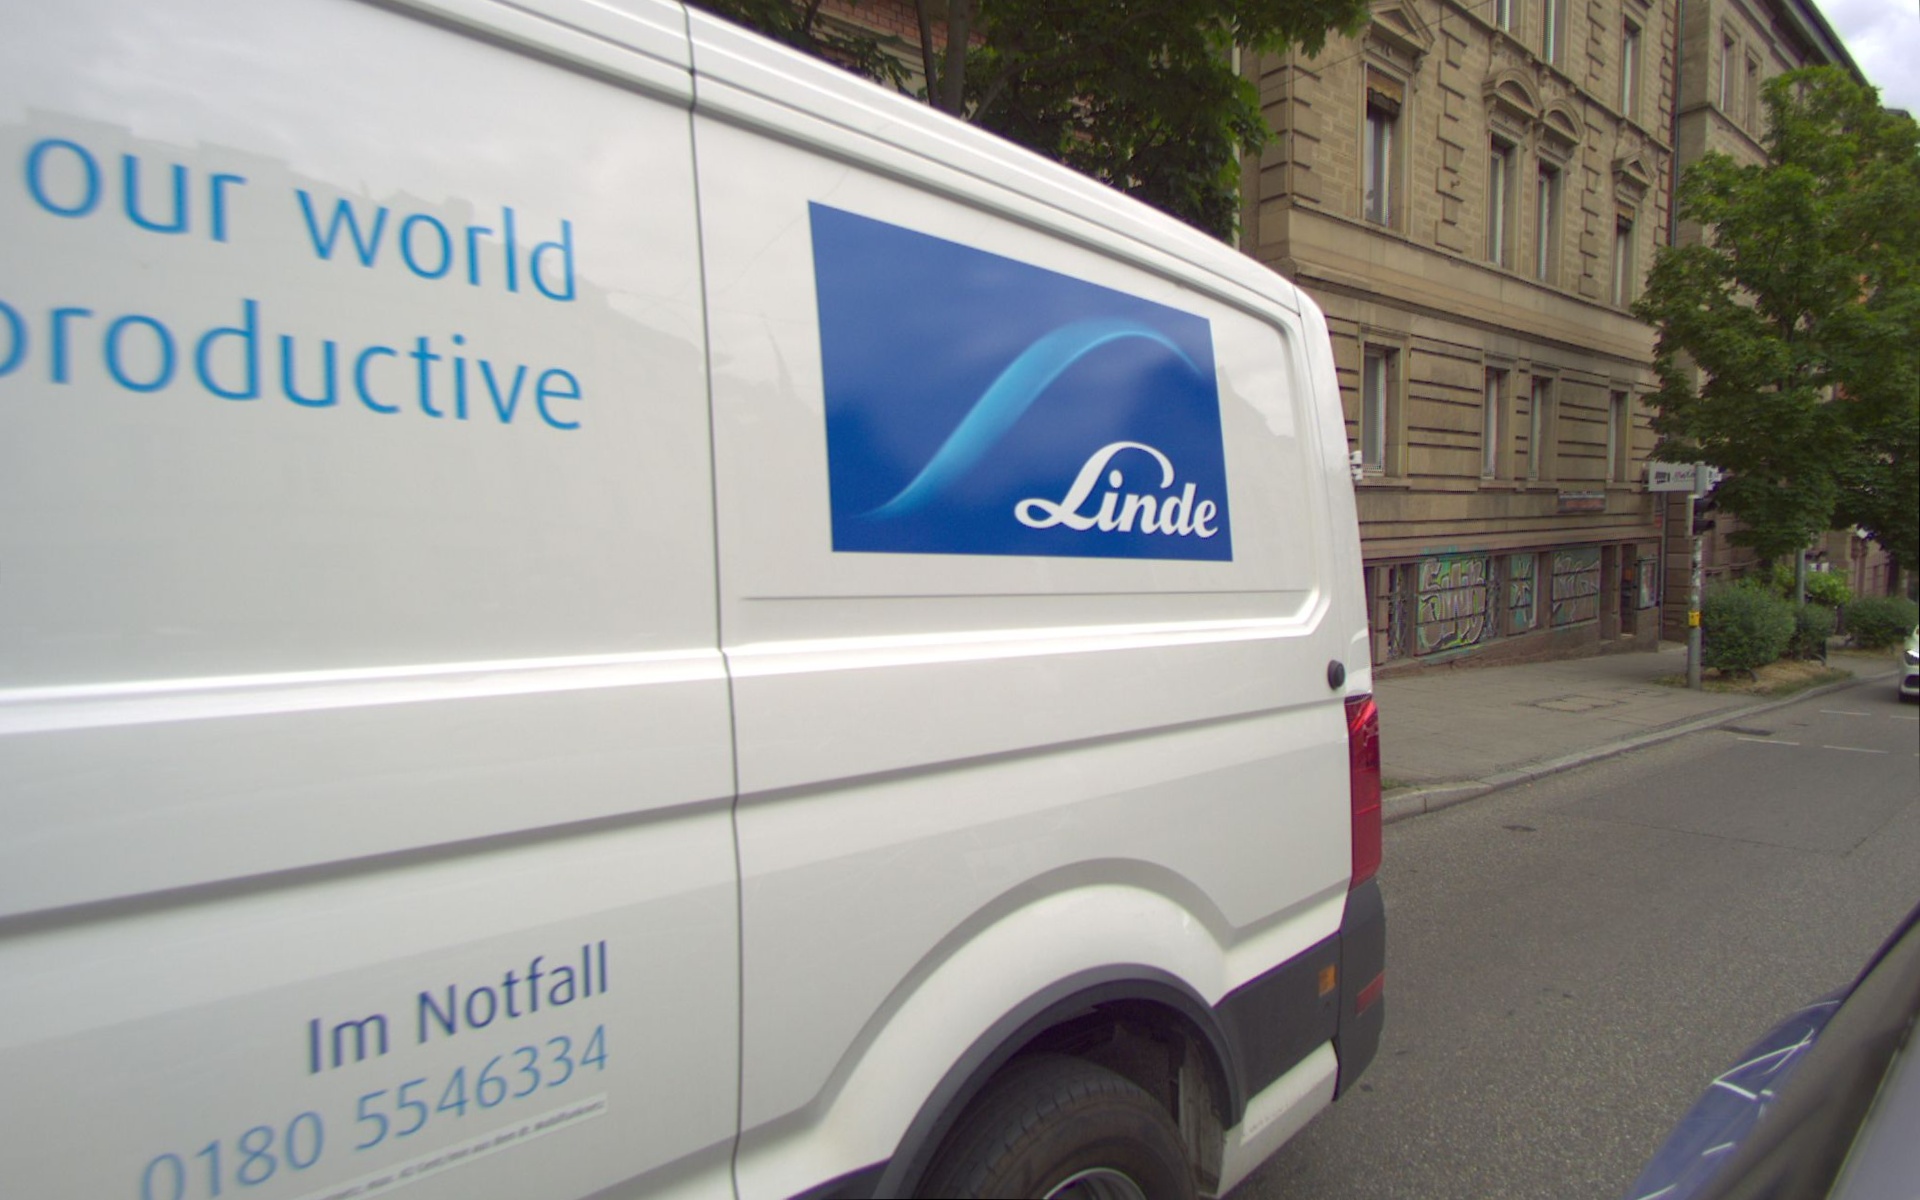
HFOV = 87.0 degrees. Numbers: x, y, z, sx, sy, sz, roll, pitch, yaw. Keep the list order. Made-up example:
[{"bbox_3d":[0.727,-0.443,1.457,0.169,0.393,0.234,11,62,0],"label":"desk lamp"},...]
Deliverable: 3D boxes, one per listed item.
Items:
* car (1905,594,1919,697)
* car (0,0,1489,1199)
[{"bbox_3d":[15.171,0.644,14.700,3.932,1.417,1.804,0,1,-42],"label":"car"},{"bbox_3d":[-1.710,0.255,1.400,5.861,2.316,2.262,0,1,-40],"label":"car"}]
